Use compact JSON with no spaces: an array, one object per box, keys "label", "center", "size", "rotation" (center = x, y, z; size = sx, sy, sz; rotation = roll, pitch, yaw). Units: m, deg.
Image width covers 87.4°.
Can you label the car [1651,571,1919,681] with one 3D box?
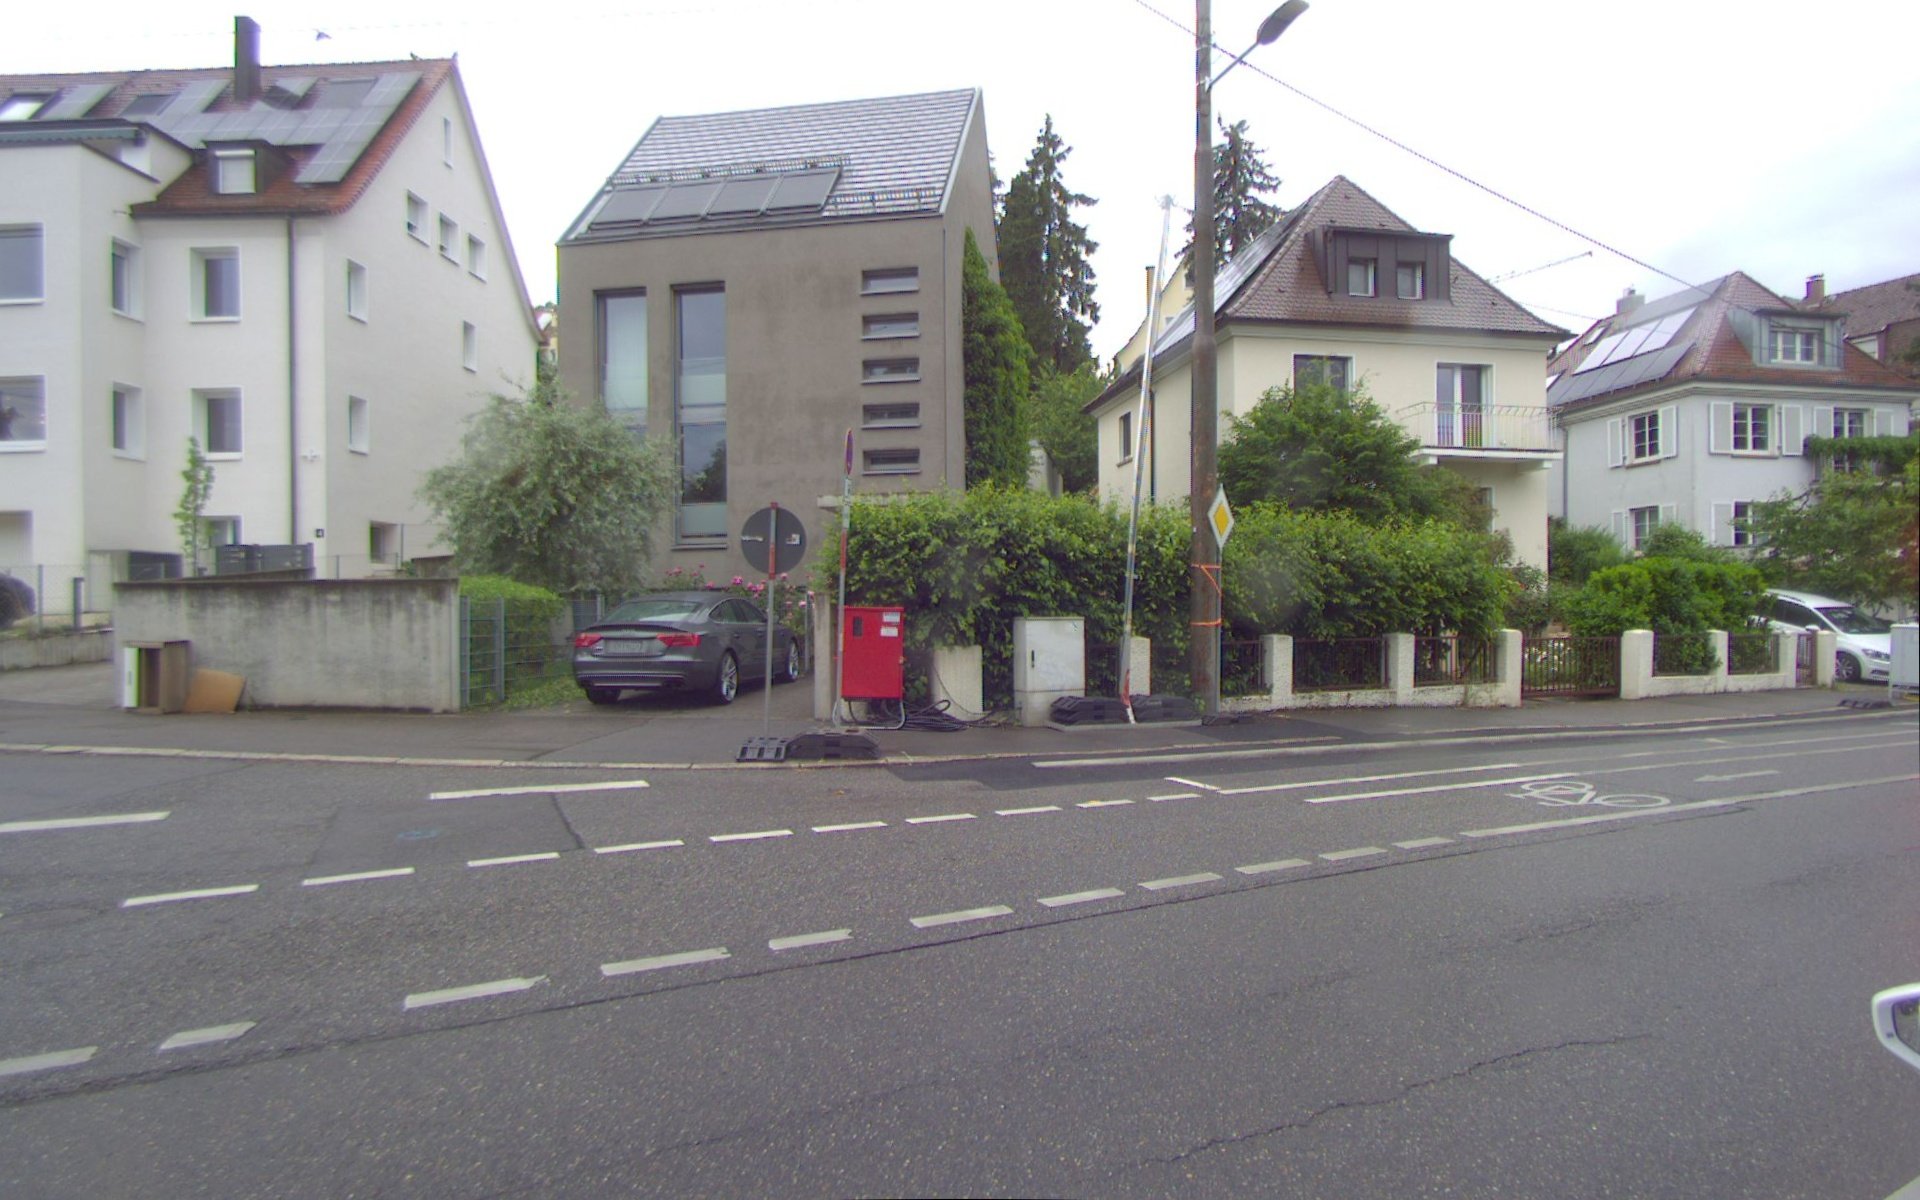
[{"label":"car","center":[19.510,0.481,23.853],"size":[1.833,1.639,4.960],"rotation":[0,10,-15]}]

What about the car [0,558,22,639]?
[{"label":"car","center":[-16.806,0.043,15.117],"size":[1.536,1.350,3.923],"rotation":[1,3,3]}]

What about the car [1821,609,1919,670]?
[{"label":"car","center":[25.994,1.078,26.962],"size":[1.909,1.546,3.986],"rotation":[2,0,-16]}]

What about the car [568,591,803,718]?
[{"label":"car","center":[-3.501,0.603,13.699],"size":[1.581,1.387,4.265],"rotation":[0,1,7]}]
